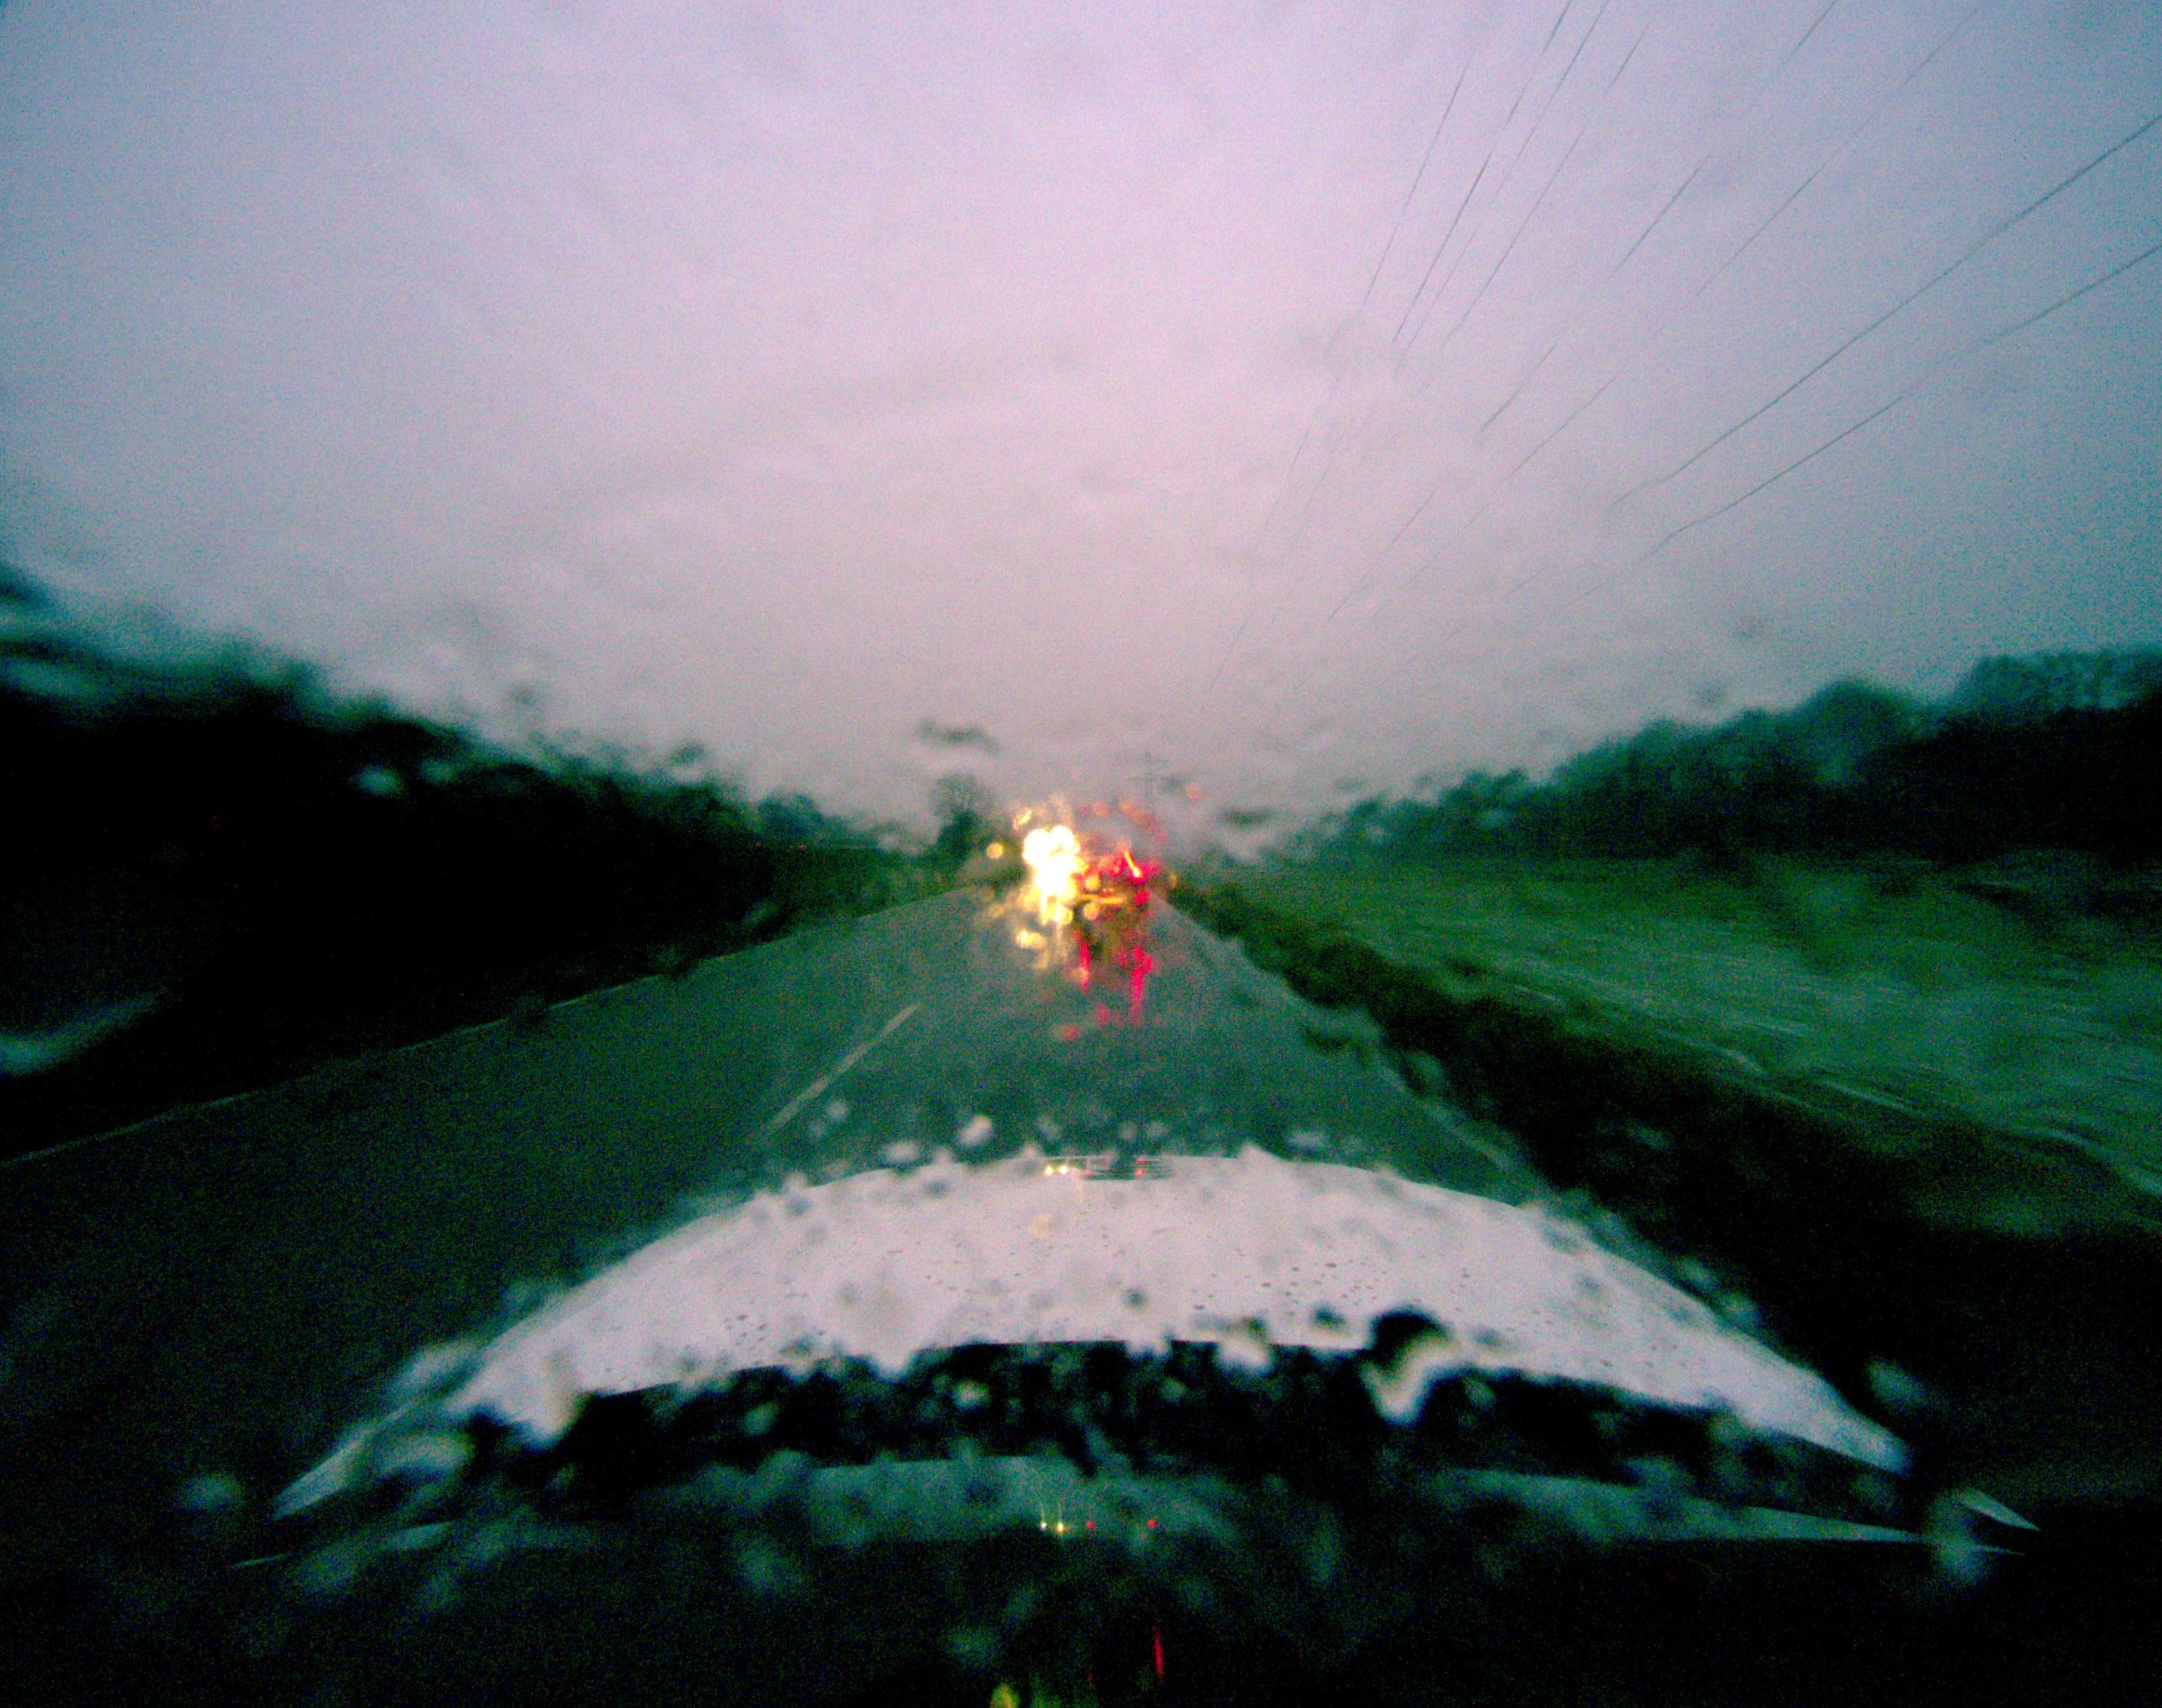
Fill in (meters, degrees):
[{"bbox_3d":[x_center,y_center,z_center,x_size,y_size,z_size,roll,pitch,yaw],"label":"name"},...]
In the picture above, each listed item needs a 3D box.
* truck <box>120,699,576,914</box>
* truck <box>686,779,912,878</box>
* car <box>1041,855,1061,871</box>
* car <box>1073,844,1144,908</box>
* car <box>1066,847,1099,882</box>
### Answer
[{"bbox_3d":[-26.394,-1.381,31.785,3.753,6.288,15.731,-1,0,-1],"label":"truck"},{"bbox_3d":[-26.199,-1.945,83.570,7.513,7.713,40.174,-1,0,3],"label":"truck"},{"bbox_3d":[-3.044,0.895,82.870,1.779,1.591,4.487,-1,0,1],"label":"car"},{"bbox_3d":[0.587,0.489,19.481,1.496,1.398,3.197,-1,0,-1],"label":"car"},{"bbox_3d":[0.060,0.611,48.874,1.847,2.013,3.998,-1,0,-1],"label":"car"}]
